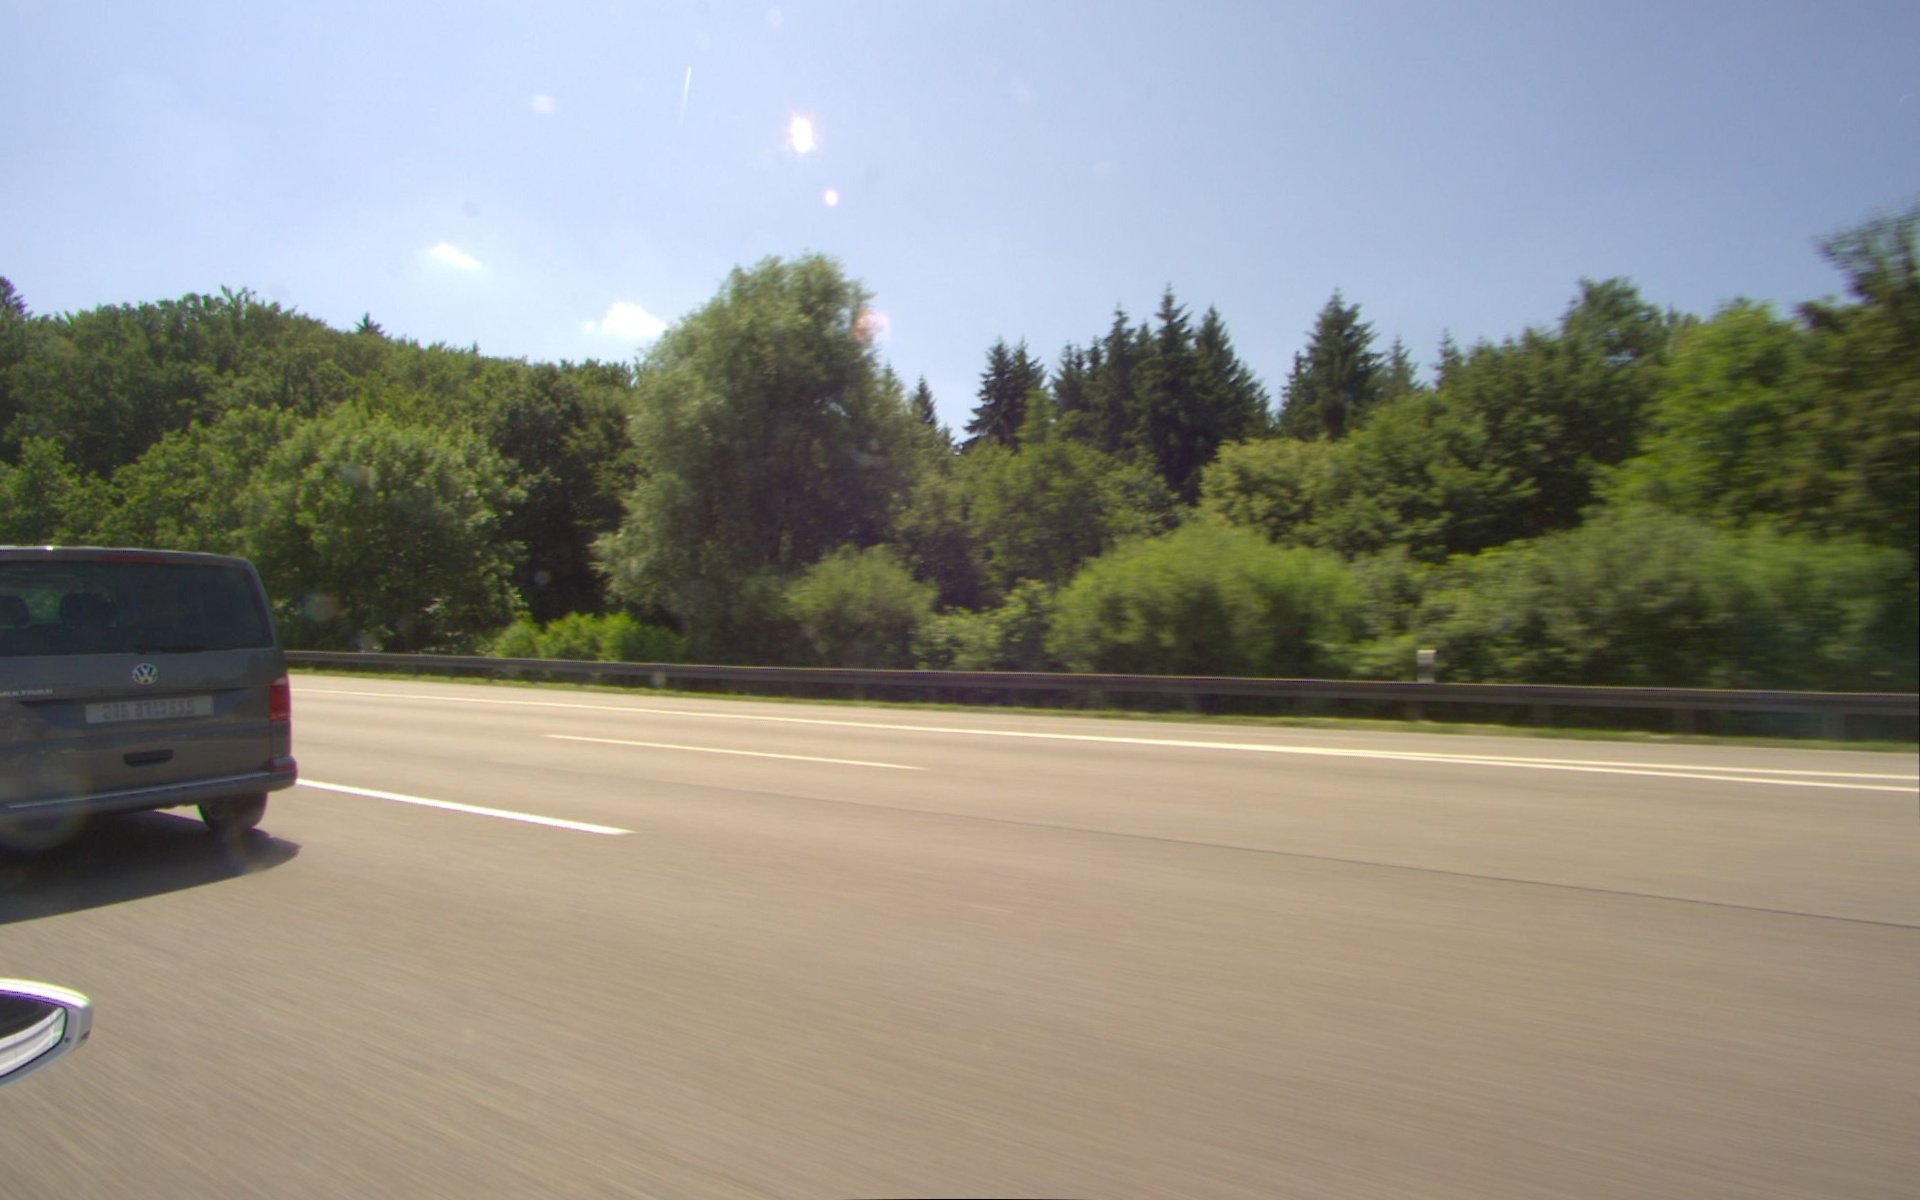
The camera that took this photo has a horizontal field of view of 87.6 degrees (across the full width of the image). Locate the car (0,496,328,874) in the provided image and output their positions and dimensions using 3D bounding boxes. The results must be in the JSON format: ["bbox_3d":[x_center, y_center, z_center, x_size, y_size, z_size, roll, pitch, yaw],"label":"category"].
[{"bbox_3d":[-6.988,0.619,7.406,5.013,2.058,1.959,-4,-3,32],"label":"car"}]
